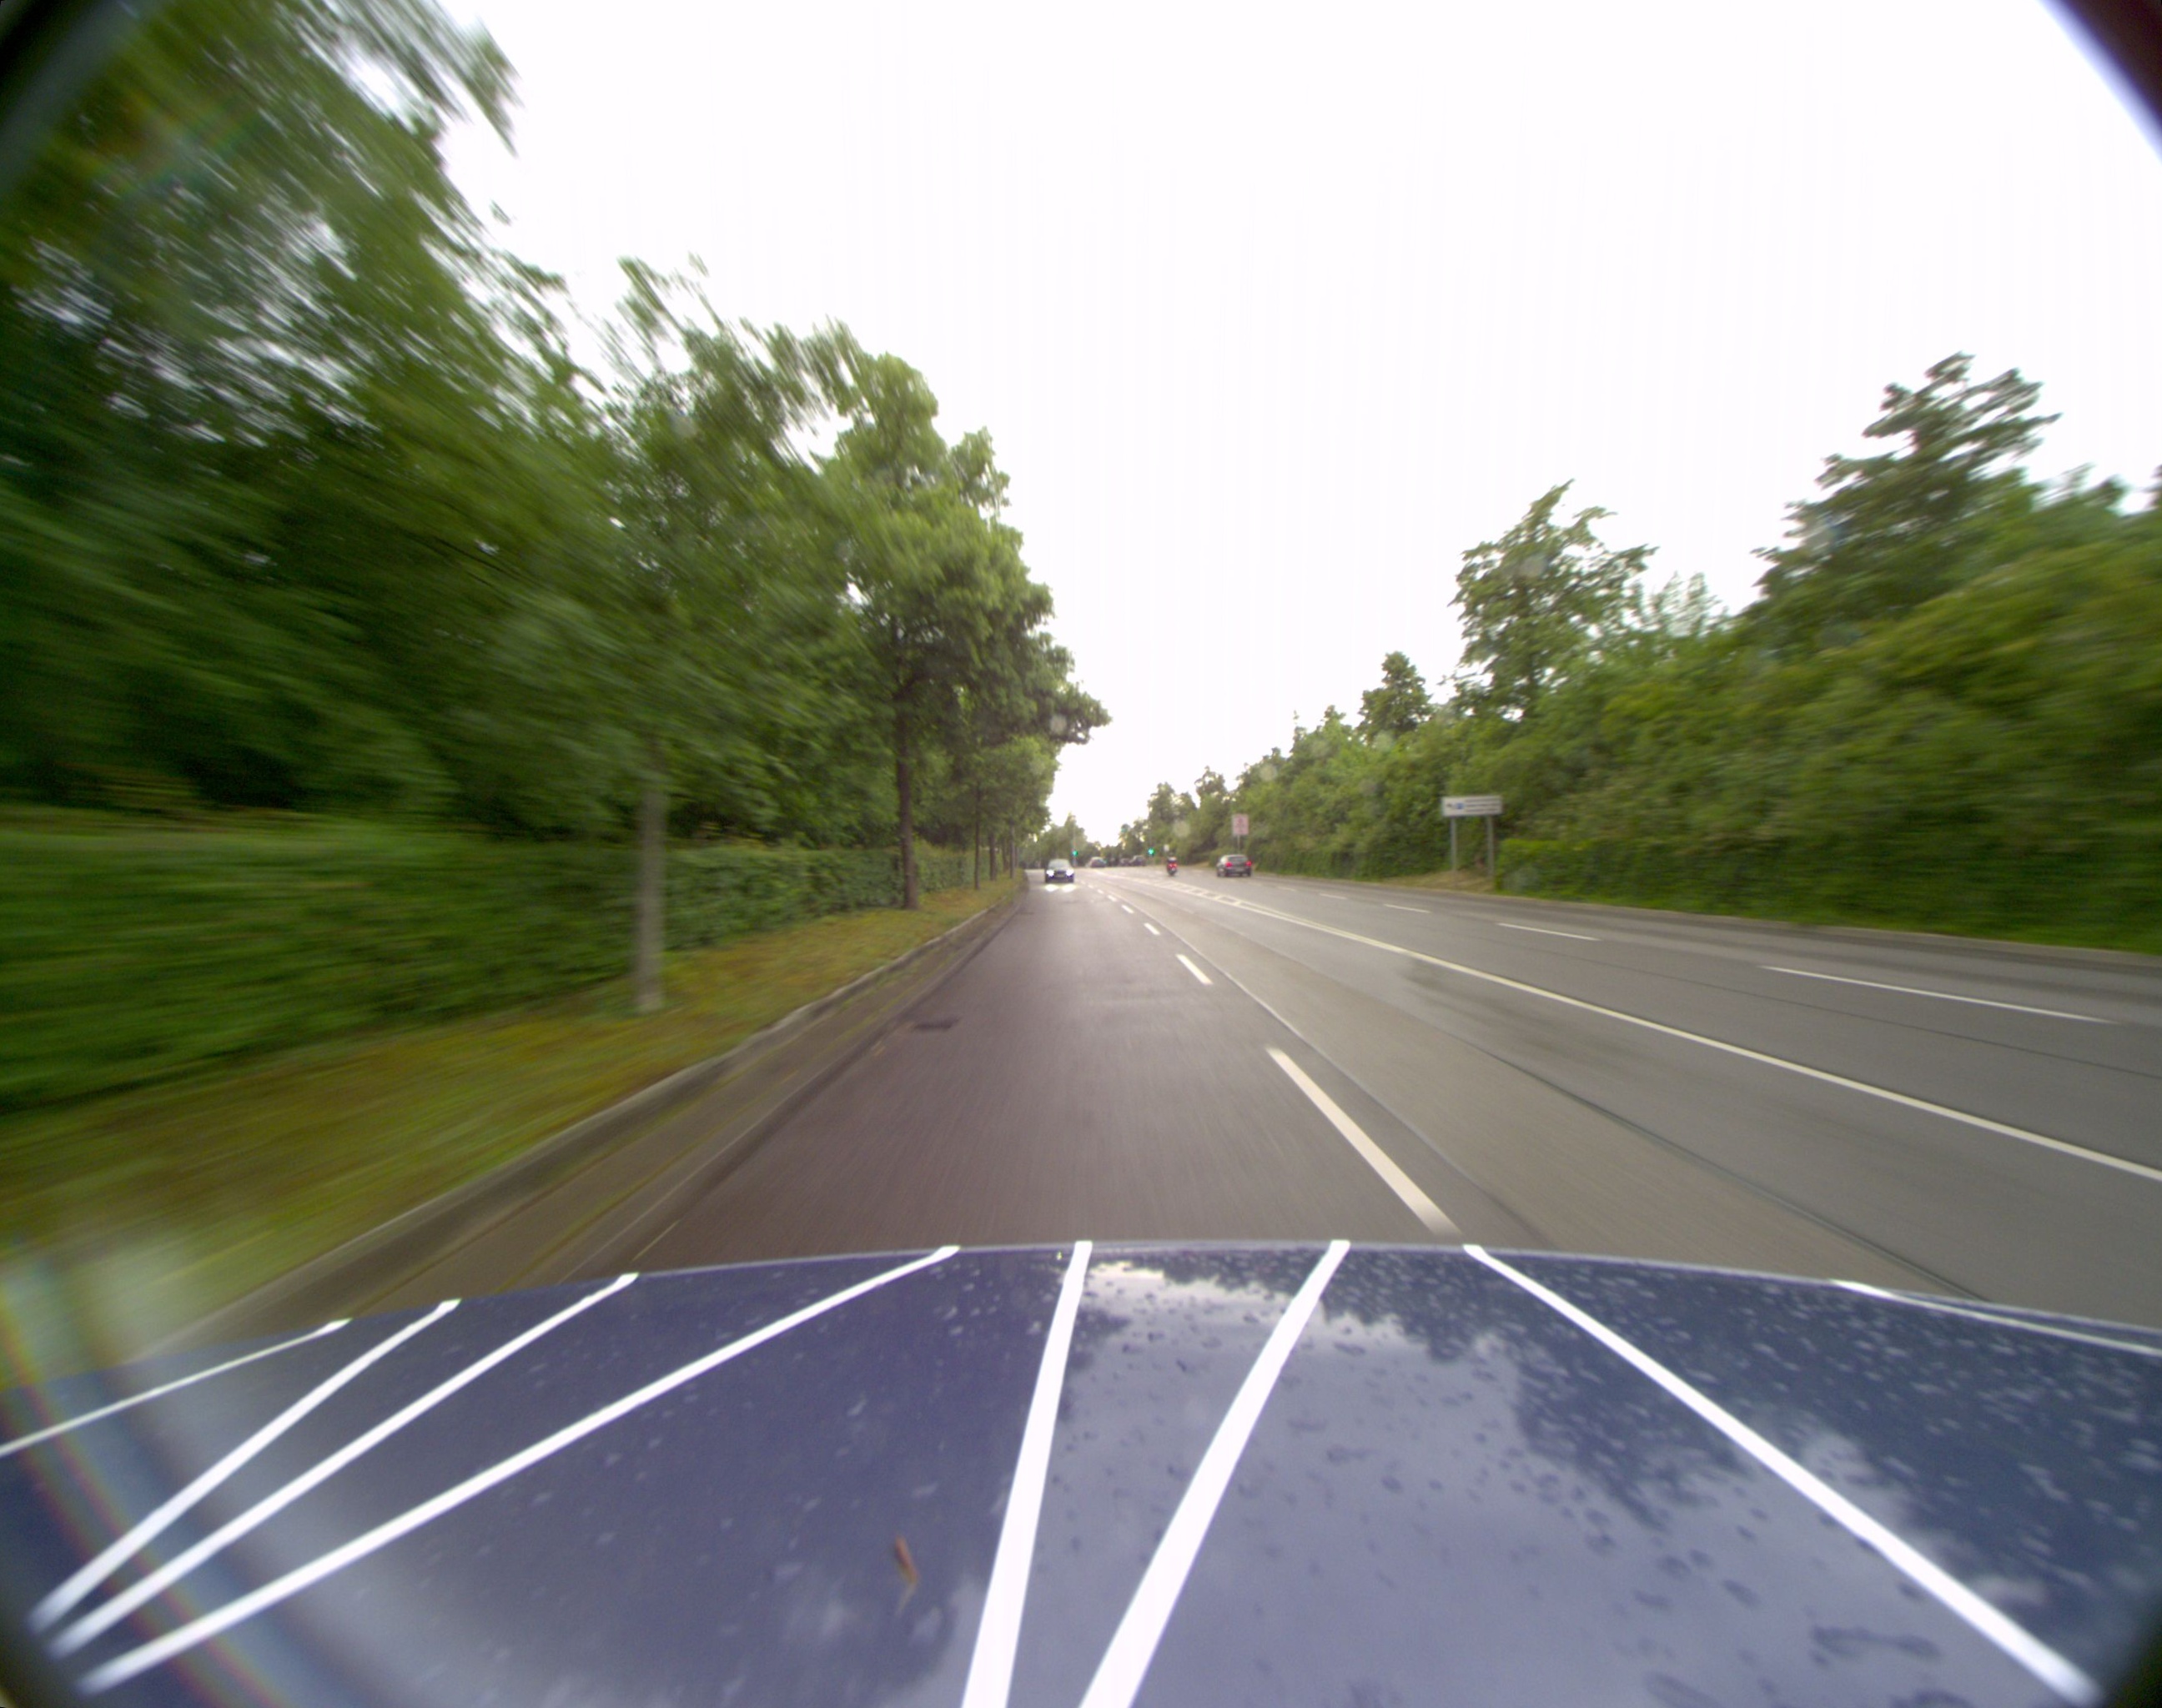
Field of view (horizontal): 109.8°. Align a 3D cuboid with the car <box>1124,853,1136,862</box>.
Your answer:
[{"bbox_3d":[8.499,0.555,132.185,1.679,1.459,3.861,-2,0,-2],"label":"car"}]

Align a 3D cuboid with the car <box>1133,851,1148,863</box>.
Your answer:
[{"bbox_3d":[8.888,0.425,113.612,1.805,1.597,4.427,-2,0,-1],"label":"car"}]

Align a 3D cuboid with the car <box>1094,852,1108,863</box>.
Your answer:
[{"bbox_3d":[2.824,0.541,108.562,1.782,1.459,3.996,-2,0,-2],"label":"car"}]

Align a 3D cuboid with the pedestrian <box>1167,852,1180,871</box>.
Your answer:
[{"bbox_3d":[6.650,0.534,54.787,0.793,1.376,0.974,-3,1,0],"label":"pedestrian"}]

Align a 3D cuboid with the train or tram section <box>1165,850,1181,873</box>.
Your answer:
[{"bbox_3d":[6.648,0.534,54.791,0.793,1.561,2.383,-3,1,0],"label":"train or tram section"}]

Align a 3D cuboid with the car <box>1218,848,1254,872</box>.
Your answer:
[{"bbox_3d":[9.914,0.364,48.839,1.552,1.429,3.695,-2,1,1],"label":"car"}]

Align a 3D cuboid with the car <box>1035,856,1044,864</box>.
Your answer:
[{"bbox_3d":[-8.553,1.192,157.526,1.738,1.577,4.285,-2,0,-2],"label":"car"}]

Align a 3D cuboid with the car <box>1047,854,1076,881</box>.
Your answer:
[{"bbox_3d":[-1.262,0.828,48.744,1.738,1.577,4.285,-2,0,-2],"label":"car"}]
